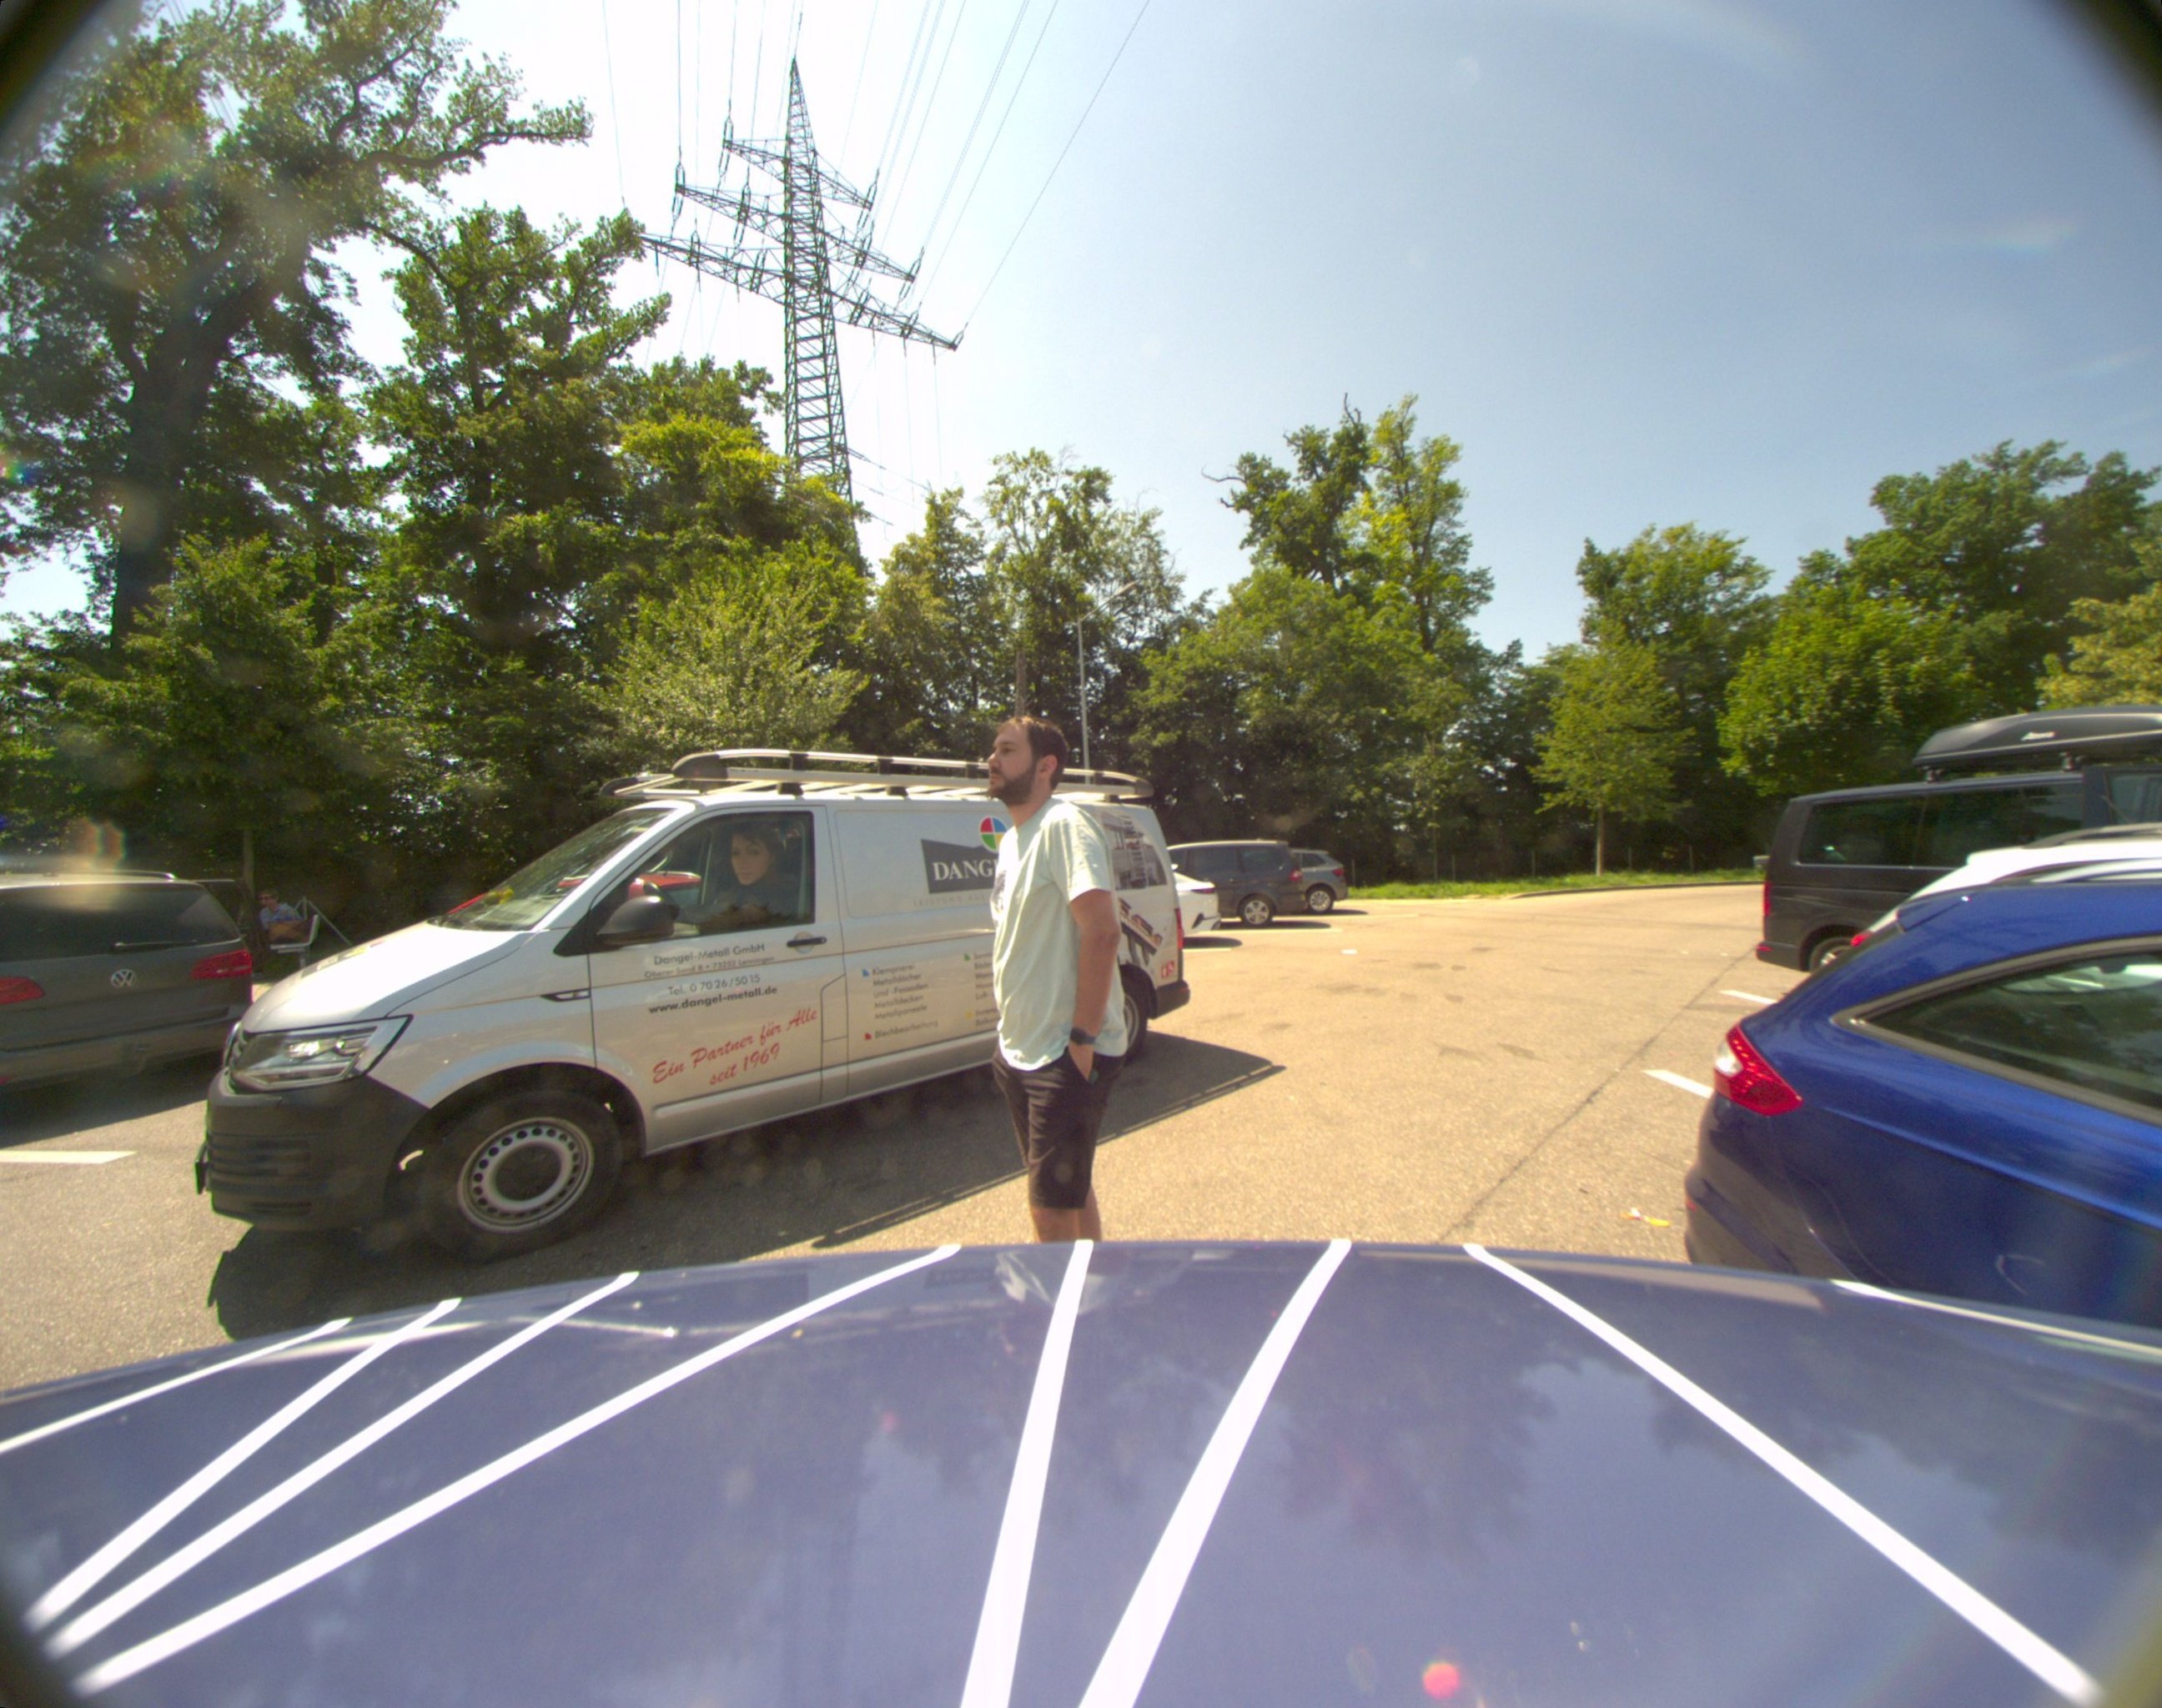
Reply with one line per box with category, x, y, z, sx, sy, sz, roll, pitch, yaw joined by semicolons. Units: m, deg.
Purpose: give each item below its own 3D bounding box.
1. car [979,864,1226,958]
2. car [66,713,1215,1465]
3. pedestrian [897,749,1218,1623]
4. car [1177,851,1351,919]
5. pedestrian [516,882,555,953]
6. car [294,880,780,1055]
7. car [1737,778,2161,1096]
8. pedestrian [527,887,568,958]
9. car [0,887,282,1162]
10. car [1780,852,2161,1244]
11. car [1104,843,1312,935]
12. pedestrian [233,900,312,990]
car;0.389;0.908;12.713;3.805;1.359;1.803;-1;1;5
car;-1.612;0.651;4.719;5.323;2.137;1.995;-2;-1;-44
pedestrian;-0.120;0.702;2.062;0.634;1.857;0.747;-2;0;-17
car;4.238;0.709;18.088;3.805;1.468;1.743;-1;1;5
pedestrian;-11.028;1.268;15.365;0.490;1.367;0.506;-2;0;41
car;-5.261;1.063;7.620;3.804;1.449;1.637;-1;1;7
car;7.289;0.458;4.997;2.048;1.850;4.430;-2;-1;-1
pedestrian;-10.187;1.296;14.506;0.490;1.291;0.506;-2;0;41
car;-8.358;1.102;5.432;3.950;1.581;1.753;-1;1;11
car;4.761;0.702;2.400;1.607;1.405;3.743;-2;-1;-1
car;2.491;0.681;15.464;3.882;1.680;1.882;-1;0;5
pedestrian;-11.769;1.304;11.061;0.680;1.211;0.675;-4;-2;36
